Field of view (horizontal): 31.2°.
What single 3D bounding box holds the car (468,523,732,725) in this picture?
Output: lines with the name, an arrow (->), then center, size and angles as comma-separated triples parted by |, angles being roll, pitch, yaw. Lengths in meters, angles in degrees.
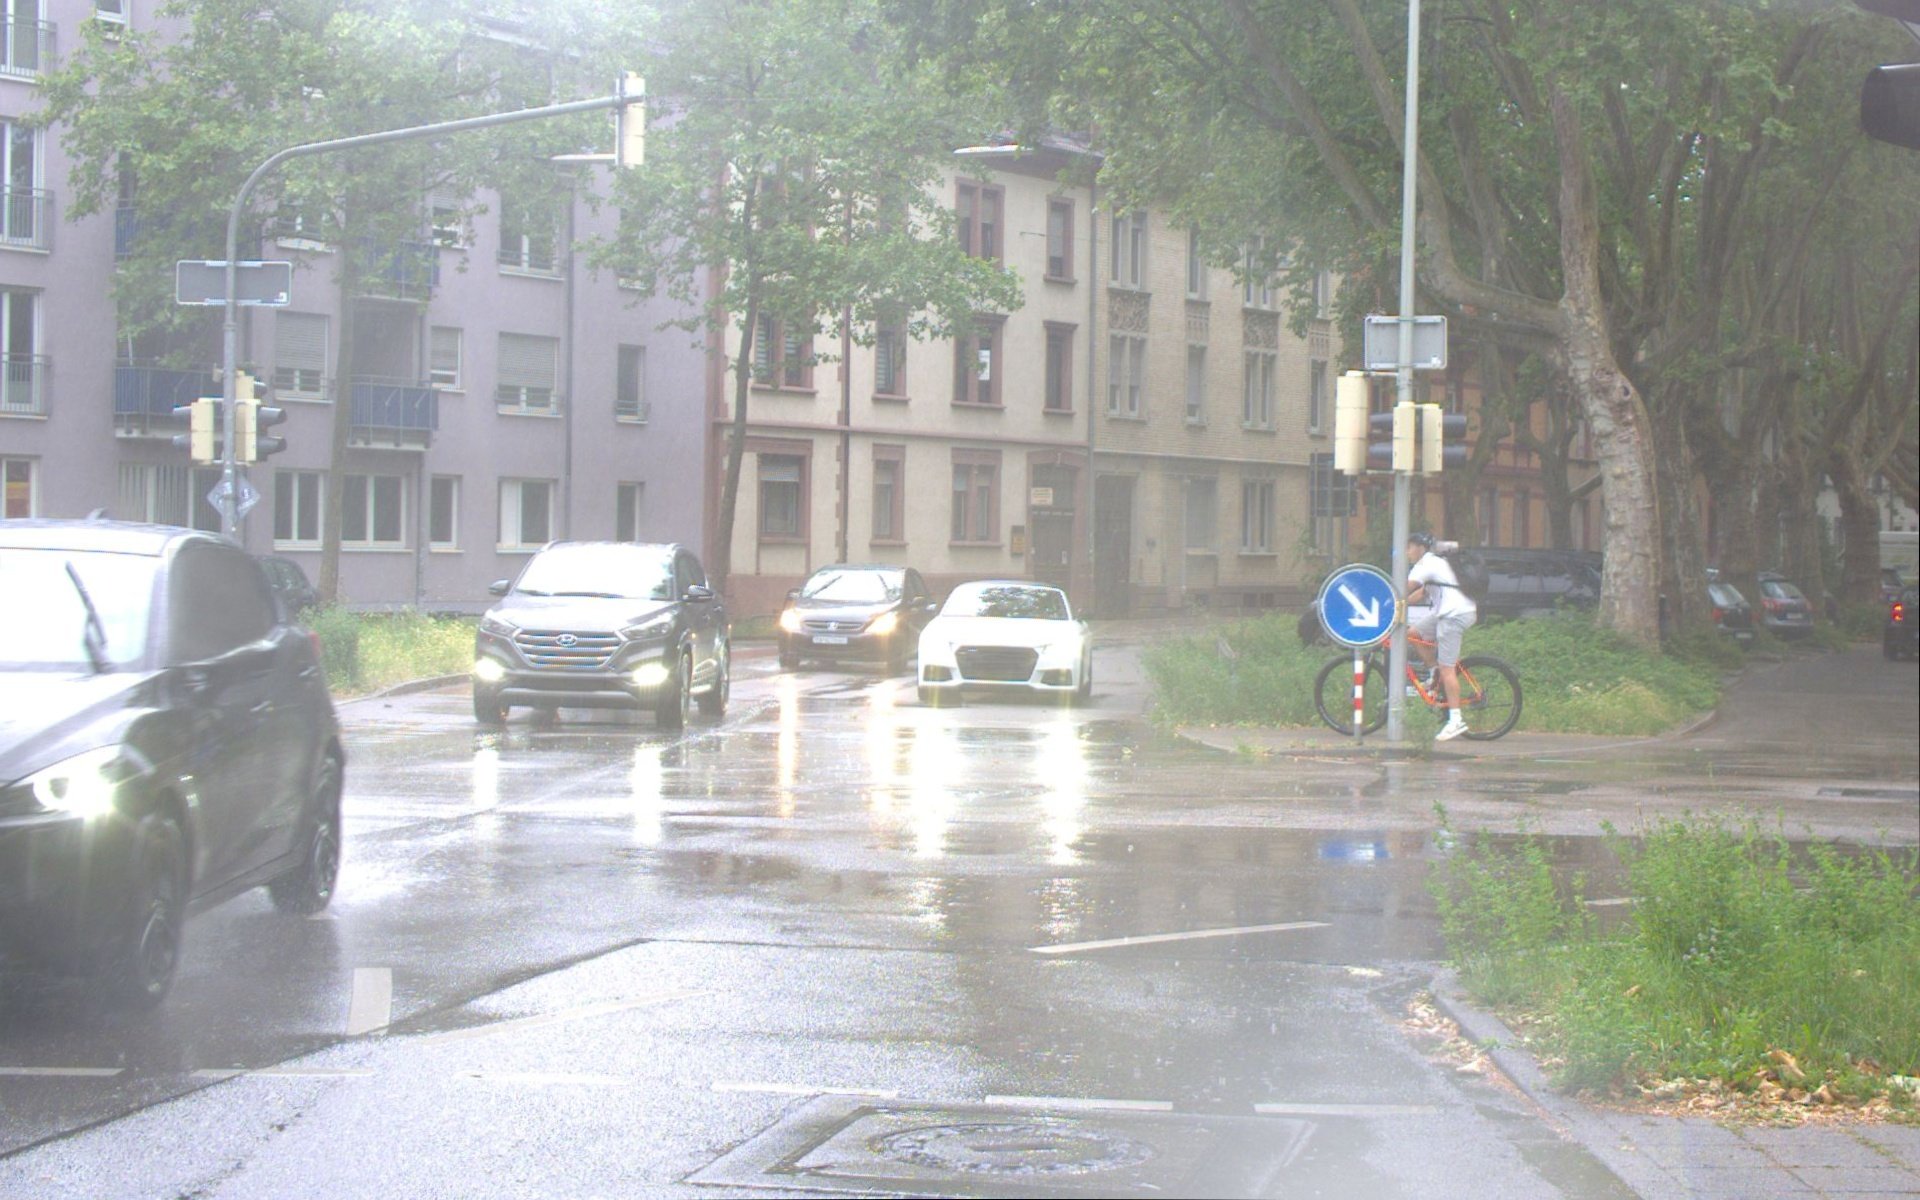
car -> -3.218, 0.149, 31.558 | 1.803, 1.677, 4.603 | 1, 1, 1

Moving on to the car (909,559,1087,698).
car -> 0.461, 0.281, 39.116 | 1.884, 1.431, 4.000 | 1, 1, 1

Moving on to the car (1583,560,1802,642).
car -> 13.939, 0.009, 65.446 | 3.989, 1.481, 1.999 | 1, 1, 12

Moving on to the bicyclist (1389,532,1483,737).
bicyclist -> 4.202, 0.295, 30.376 | 0.795, 1.780, 0.697 | 1, 0, 8

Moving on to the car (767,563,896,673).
car -> -1.775, 0.224, 48.278 | 1.714, 1.454, 3.748 | 1, 1, -1

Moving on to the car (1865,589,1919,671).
car -> 17.808, 0.538, 63.609 | 1.683, 1.469, 3.659 | 1, 1, 20

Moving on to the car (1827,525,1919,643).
car -> 24.400, -0.414, 87.728 | 2.033, 2.938, 4.773 | 1, 1, -21

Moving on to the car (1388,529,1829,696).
car -> 6.174, 0.100, 32.717 | 3.989, 1.481, 1.999 | 1, 1, 12

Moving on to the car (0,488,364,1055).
car -> -3.227, 0.435, 11.719 | 1.751, 1.586, 4.235 | 1, 1, -2

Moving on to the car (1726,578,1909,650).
car -> 19.580, 0.308, 78.667 | 3.989, 1.542, 1.999 | 1, 1, 12

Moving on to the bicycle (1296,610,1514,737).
bicycle -> 3.935, 0.642, 30.412 | 1.873, 1.077, 0.657 | 1, 0, 8
